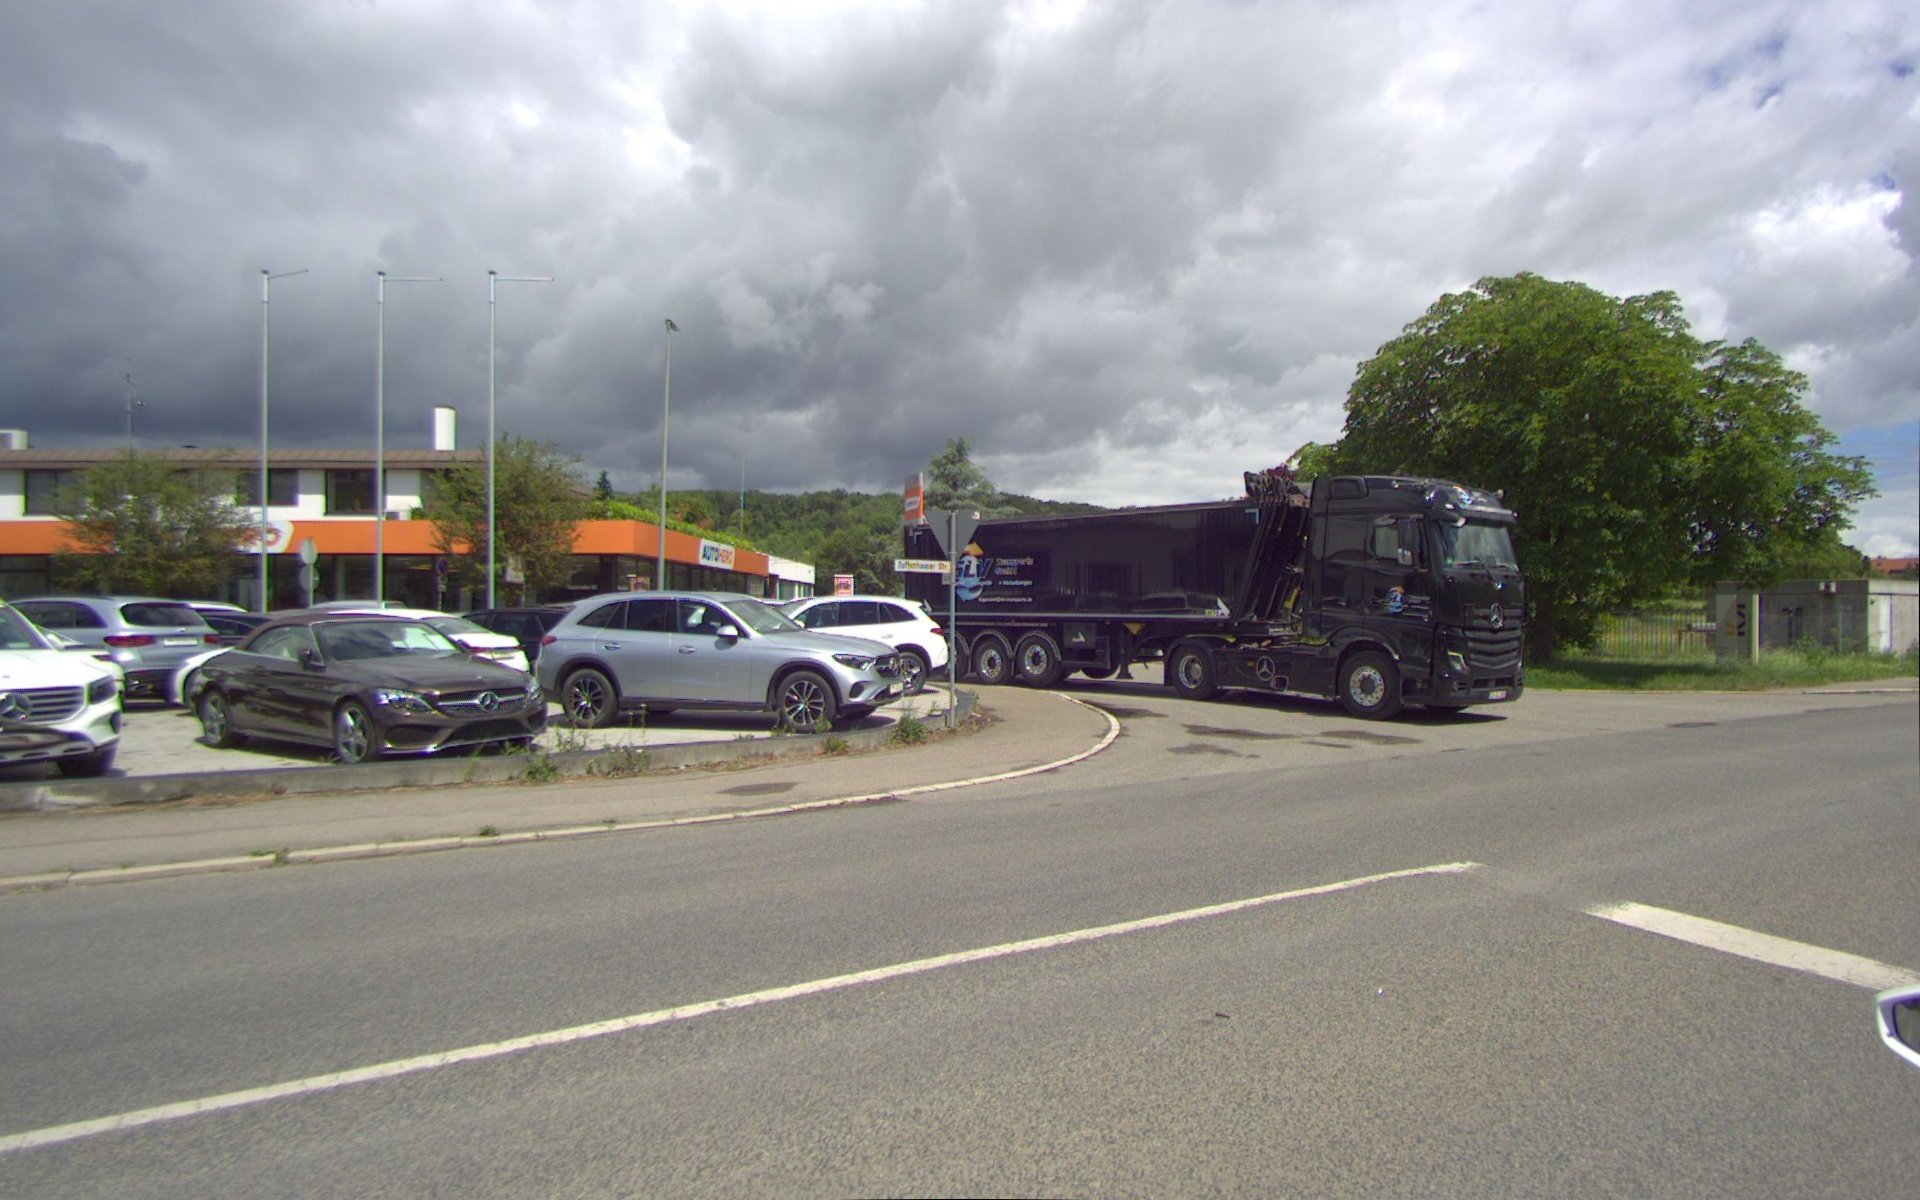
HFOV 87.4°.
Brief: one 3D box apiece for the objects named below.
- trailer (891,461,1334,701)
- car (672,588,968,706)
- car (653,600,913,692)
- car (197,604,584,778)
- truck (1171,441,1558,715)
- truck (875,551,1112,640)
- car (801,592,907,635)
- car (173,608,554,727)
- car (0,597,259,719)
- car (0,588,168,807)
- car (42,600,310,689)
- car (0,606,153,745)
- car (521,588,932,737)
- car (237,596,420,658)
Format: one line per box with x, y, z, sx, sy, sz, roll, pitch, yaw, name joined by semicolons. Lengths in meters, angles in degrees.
2.855;-0.262;21.741;9.337;4.137;3.300;-1;-1;44;trailer
-2.289;0.715;16.763;4.546;1.744;1.921;1;0;-30;car
-3.401;0.854;19.646;4.708;1.622;1.789;1;-2;-31;car
-6.182;0.811;10.781;4.253;1.485;1.792;0;1;32;car
6.721;-0.255;17.330;2.955;3.874;5.517;1;-1;-35;truck
1.154;-0.114;37.012;8.433;3.090;2.661;0;-1;-9;truck
-4.690;0.610;44.866;4.583;1.870;1.833;0;-1;-2;car
-8.337;0.879;14.210;4.466;1.487;1.868;0;1;10;car
-13.177;0.788;15.112;4.344;1.638;1.868;0;1;13;car
-9.218;0.752;8.945;4.221;1.700;1.933;0;0;29;car
-16.077;0.860;20.819;1.813;1.650;3.995;0;-1;28;car
-12.456;0.831;12.226;4.467;1.487;1.868;0;1;16;car
-2.862;0.685;12.652;4.646;1.626;1.989;1;1;14;car
-20.026;0.848;31.999;4.583;1.870;1.833;0;-1;-2;car
